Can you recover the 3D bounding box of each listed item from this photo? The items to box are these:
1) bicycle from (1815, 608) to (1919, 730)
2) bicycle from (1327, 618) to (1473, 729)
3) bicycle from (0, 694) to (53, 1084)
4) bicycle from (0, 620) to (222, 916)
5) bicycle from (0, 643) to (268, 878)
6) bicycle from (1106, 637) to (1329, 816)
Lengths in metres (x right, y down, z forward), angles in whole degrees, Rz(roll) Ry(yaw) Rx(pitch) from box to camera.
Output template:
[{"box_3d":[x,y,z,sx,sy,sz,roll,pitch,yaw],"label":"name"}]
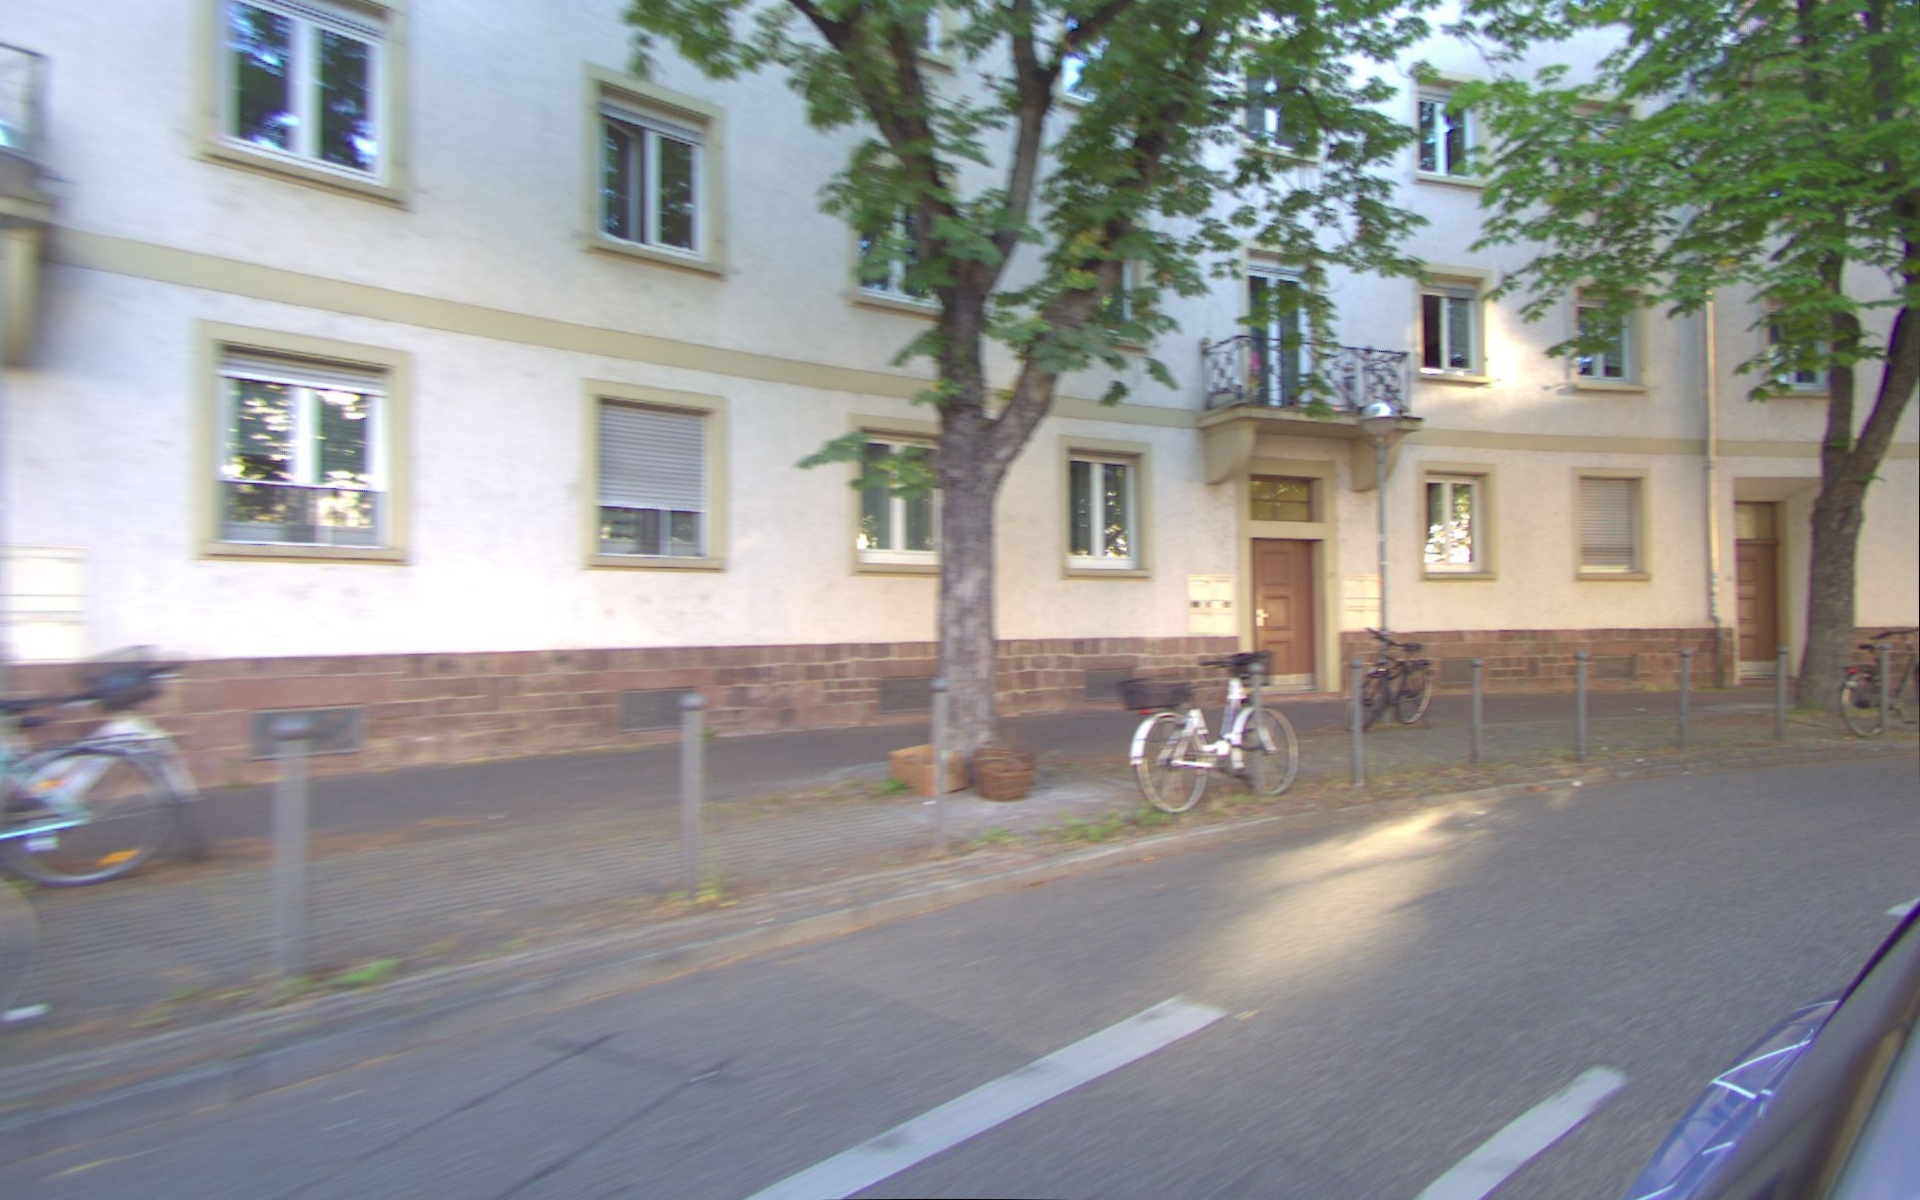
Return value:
[{"box_3d":[10.448,0.720,11.138,1.874,1.238,0.721,0,-1,-20],"label":"bicycle"},{"box_3d":[4.989,0.784,11.433,1.826,1.133,0.801,0,-2,-41],"label":"bicycle"},{"box_3d":[-3.633,0.887,2.748,1.710,1.121,0.527,1,1,-41],"label":"bicycle"},{"box_3d":[-4.626,0.757,4.687,1.930,1.293,0.719,0,0,-38],"label":"bicycle"},{"box_3d":[-4.849,0.820,5.364,1.930,1.121,0.669,0,-2,-37],"label":"bicycle"},{"box_3d":[1.956,0.869,7.517,1.937,1.109,0.514,0,0,-37],"label":"bicycle"}]
